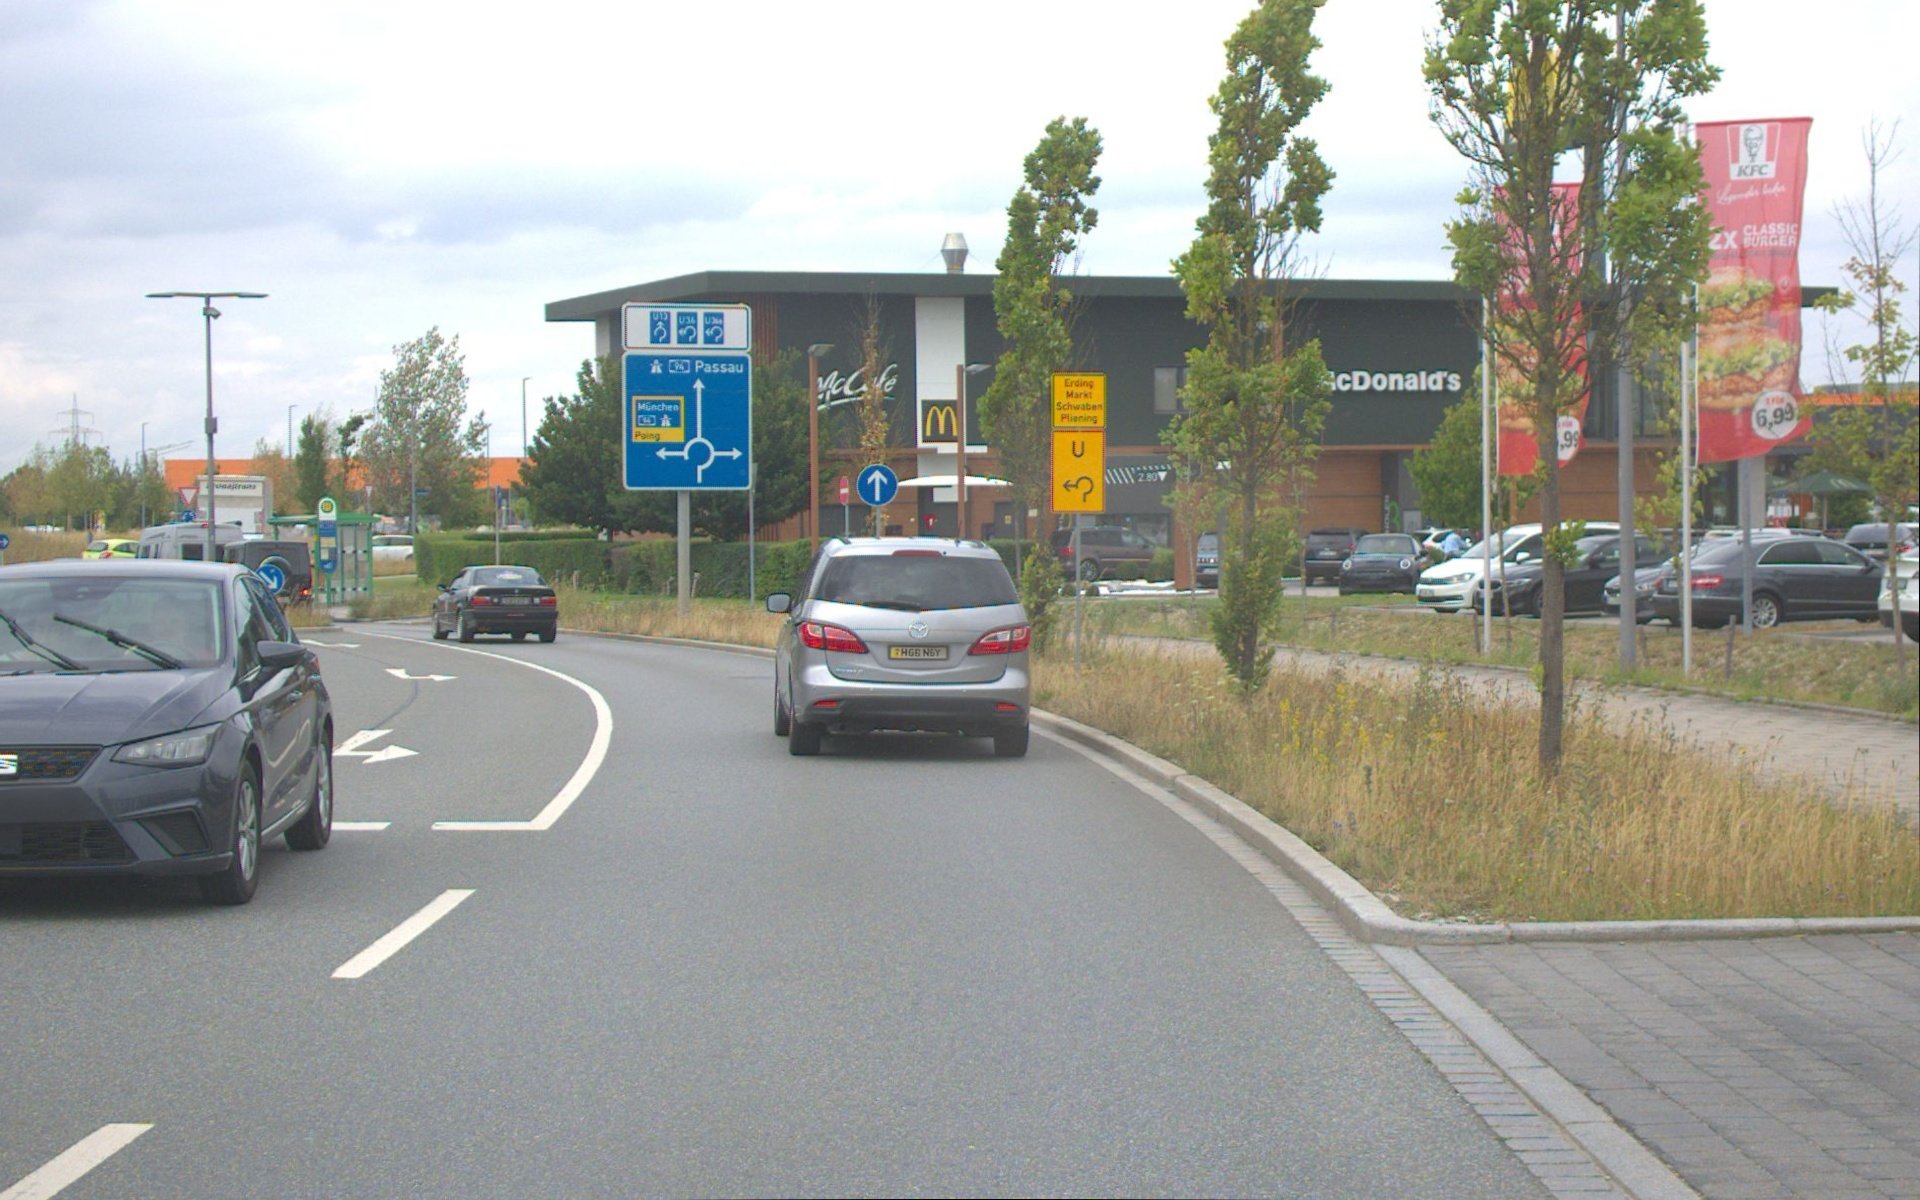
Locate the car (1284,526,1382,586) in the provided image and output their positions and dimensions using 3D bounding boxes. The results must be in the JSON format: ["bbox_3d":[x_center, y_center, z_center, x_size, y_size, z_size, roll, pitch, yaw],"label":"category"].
[{"bbox_3d":[10.933,-1.287,100.492,2.117,1.711,4.227,0,1,17],"label":"car"}]

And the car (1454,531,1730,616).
[{"bbox_3d":[11.411,-0.500,62.137,4.466,1.431,2.074,-1,2,-20],"label":"car"}]

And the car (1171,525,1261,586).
[{"bbox_3d":[7.357,-1.290,98.543,1.995,1.711,3.998,0,1,13],"label":"car"}]

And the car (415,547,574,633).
[{"bbox_3d":[-8.238,-0.207,60.529,1.844,1.413,4.226,-1,2,-21],"label":"car"}]

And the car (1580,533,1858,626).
[{"bbox_3d":[12.646,-0.366,57.336,4.082,1.433,1.943,-2,2,-19],"label":"car"}]

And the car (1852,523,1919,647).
[{"bbox_3d":[14.959,-0.298,47.584,4.560,1.639,2.089,-2,1,-12],"label":"car"}]

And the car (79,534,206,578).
[{"bbox_3d":[-29.150,-1.565,122.687,1.998,1.510,3.991,0,1,40],"label":"car"}]

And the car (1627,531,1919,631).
[{"bbox_3d":[13.084,-0.325,54.389,4.516,1.464,2.033,-1,1,-17],"label":"car"}]

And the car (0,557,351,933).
[{"bbox_3d":[-3.855,0.531,15.285,1.829,1.415,4.246,0,1,-4],"label":"car"}]

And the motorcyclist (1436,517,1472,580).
[{"bbox_3d":[14.479,-1.518,100.768,0.961,1.826,0.845,0,1,14],"label":"motorcyclist"}]

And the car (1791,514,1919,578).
[{"bbox_3d":[24.712,-1.451,91.897,4.722,1.651,1.998,-1,1,17],"label":"car"}]

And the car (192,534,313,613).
[{"bbox_3d":[-17.110,-0.649,82.987,2.058,1.819,4.787,-1,1,-22],"label":"car"}]

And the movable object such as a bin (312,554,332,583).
[{"bbox_3d":[-17.320,-0.855,93.286,0.456,0.795,0.380,-1,1,-25],"label":"movable object such as a bin"}]

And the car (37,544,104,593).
[{"bbox_3d":[-28.712,-1.026,111.089,1.993,1.510,4.001,-1,1,-13],"label":"car"}]

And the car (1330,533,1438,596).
[{"bbox_3d":[9.367,-0.799,75.733,1.812,1.308,3.847,0,2,15],"label":"car"}]

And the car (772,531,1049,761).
[{"bbox_3d":[-0.446,0.295,25.897,1.729,1.594,3.808,0,1,-6],"label":"car"}]

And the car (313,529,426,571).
[{"bbox_3d":[-25.246,-2.130,146.988,4.601,1.751,2.001,-1,1,-14],"label":"car"}]

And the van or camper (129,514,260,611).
[{"bbox_3d":[-20.454,-1.017,91.682,2.302,2.497,5.207,0,1,-25],"label":"van or camper"}]

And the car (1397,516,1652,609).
[{"bbox_3d":[10.588,-0.726,64.520,4.346,1.634,1.938,-1,2,-22],"label":"car"}]

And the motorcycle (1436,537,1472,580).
[{"bbox_3d":[14.485,-1.212,100.759,0.857,1.240,1.965,0,1,14],"label":"motorcycle"}]

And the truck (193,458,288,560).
[{"bbox_3d":[-28.498,-3.572,136.456,3.132,3.893,9.338,-1,1,-9],"label":"truck"}]

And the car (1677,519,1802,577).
[{"bbox_3d":[23.845,-1.595,105.107,1.999,1.716,3.990,1,1,43],"label":"car"}]
